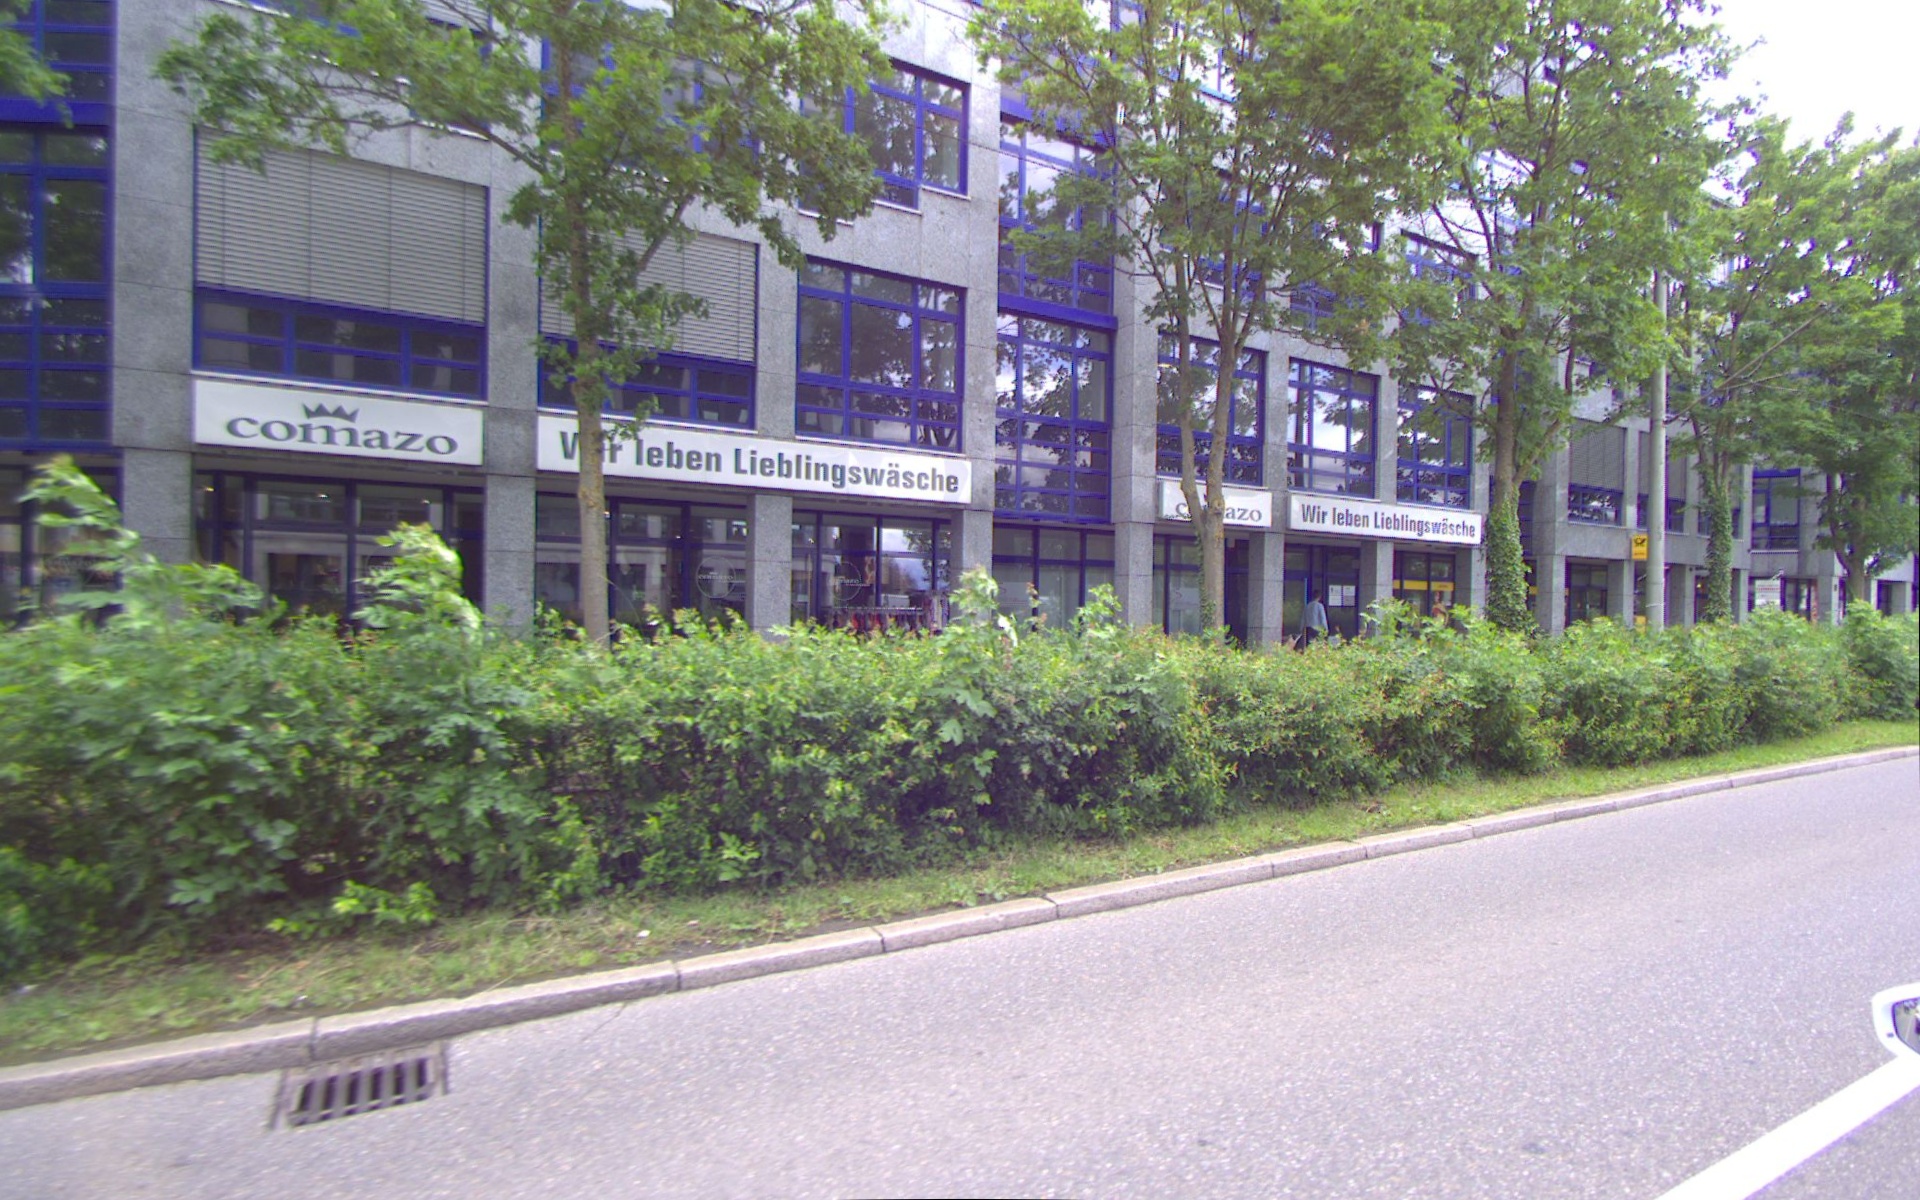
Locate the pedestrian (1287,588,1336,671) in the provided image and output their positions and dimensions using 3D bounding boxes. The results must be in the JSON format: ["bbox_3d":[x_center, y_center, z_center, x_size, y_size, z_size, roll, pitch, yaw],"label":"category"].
[{"bbox_3d":[8.316,0.692,23.777,0.723,1.919,0.770,2,0,-31],"label":"pedestrian"}]
